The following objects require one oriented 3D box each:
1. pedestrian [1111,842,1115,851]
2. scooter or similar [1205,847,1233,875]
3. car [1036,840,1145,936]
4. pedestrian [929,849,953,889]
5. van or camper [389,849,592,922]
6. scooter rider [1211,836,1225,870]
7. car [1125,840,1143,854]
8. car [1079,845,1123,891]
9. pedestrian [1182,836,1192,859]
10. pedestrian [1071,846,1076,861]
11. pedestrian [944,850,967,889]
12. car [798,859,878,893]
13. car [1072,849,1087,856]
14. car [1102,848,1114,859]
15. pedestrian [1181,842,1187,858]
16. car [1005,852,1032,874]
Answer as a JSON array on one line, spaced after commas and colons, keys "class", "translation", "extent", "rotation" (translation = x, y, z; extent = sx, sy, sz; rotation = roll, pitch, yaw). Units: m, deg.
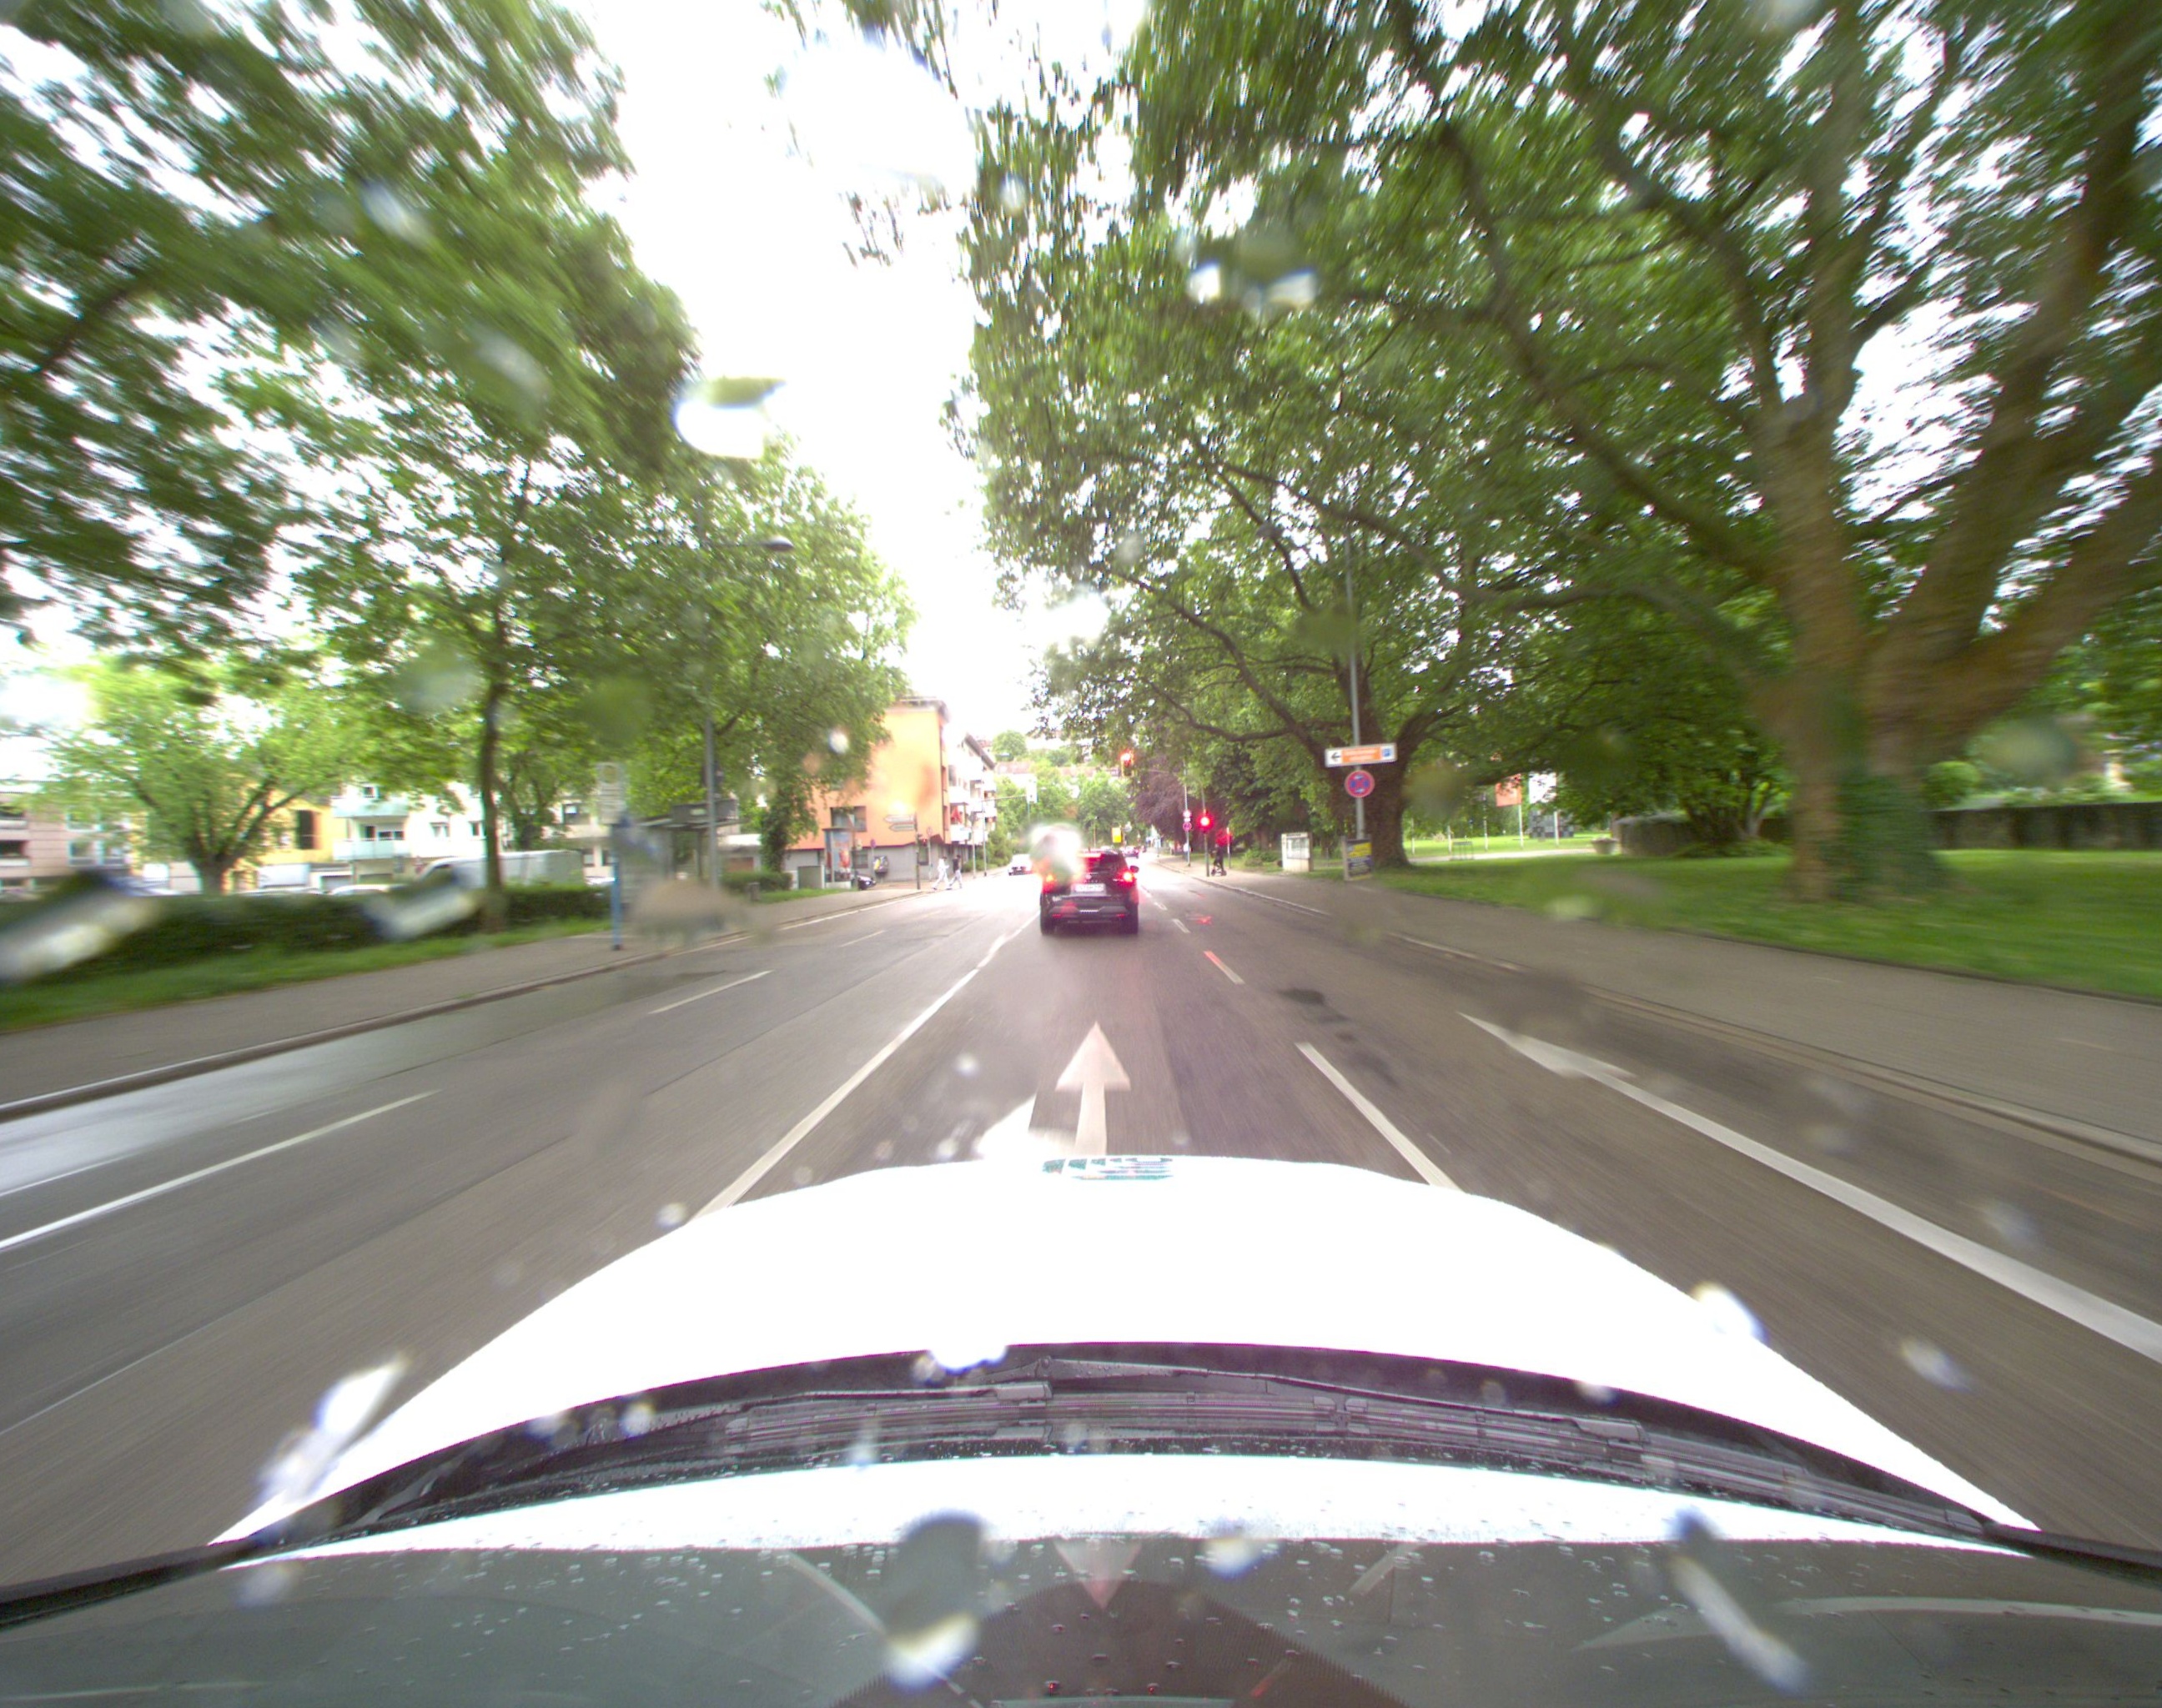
[{"class": "pedestrian", "translation": [6.075, -1.416, 154.825], "extent": [0.503, 1.673, 0.663], "rotation": [-3, 0, 29]}, {"class": "scooter or similar", "translation": [7.315, 0.368, 43.192], "extent": [1.384, 1.446, 0.820], "rotation": [-2, -1, 13]}, {"class": "car", "translation": [0.225, 0.599, 16.437], "extent": [1.906, 1.680, 4.002], "rotation": [-1, 0, 2]}, {"class": "pedestrian", "translation": [-6.870, 0.750, 40.050], "extent": [1.035, 1.876, 0.656], "rotation": [-4, 0, -10]}, {"class": "van or camper", "translation": [-17.797, 0.916, 24.715], "extent": [4.582, 1.949, 1.999], "rotation": [-2, 0, -1]}, {"class": "scooter rider", "translation": [7.281, -0.031, 43.219], "extent": [0.638, 1.766, 0.738], "rotation": [-2, -1, 15]}, {"class": "car", "translation": [6.549, -0.848, 100.720], "extent": [1.983, 1.735, 4.007], "rotation": [0, 0, 6]}, {"class": "car", "translation": [0.849, 0.544, 34.165], "extent": [1.692, 1.745, 3.642], "rotation": [-3, 0, 1]}, {"class": "pedestrian", "translation": [9.510, -0.581, 73.078], "extent": [0.722, 2.013, 0.852], "rotation": [-3, 0, 1]}, {"class": "pedestrian", "translation": [-0.930, -0.017, 100.294], "extent": [0.506, 1.802, 0.620], "rotation": [-3, 0, 1]}, {"class": "pedestrian", "translation": [-6.299, 0.753, 40.823], "extent": [1.035, 1.876, 0.656], "rotation": [-4, 0, -10]}, {"class": "car", "translation": [-13.598, 1.226, 45.718], "extent": [4.132, 1.625, 1.842], "rotation": [-3, 0, -15]}, {"class": "car", "translation": [-0.445, -0.276, 189.730], "extent": [3.433, 1.552, 1.757], "rotation": [0, 0, -5]}, {"class": "car", "translation": [3.868, -0.055, 118.350], "extent": [1.628, 1.532, 3.969], "rotation": [-3, 0, 1]}, {"class": "pedestrian", "translation": [9.767, -0.354, 77.284], "extent": [0.388, 1.502, 0.559], "rotation": [-3, 0, 1]}, {"class": "car", "translation": [-4.648, 0.647, 60.871], "extent": [1.791, 1.533, 3.864], "rotation": [-3, 0, -2]}]
